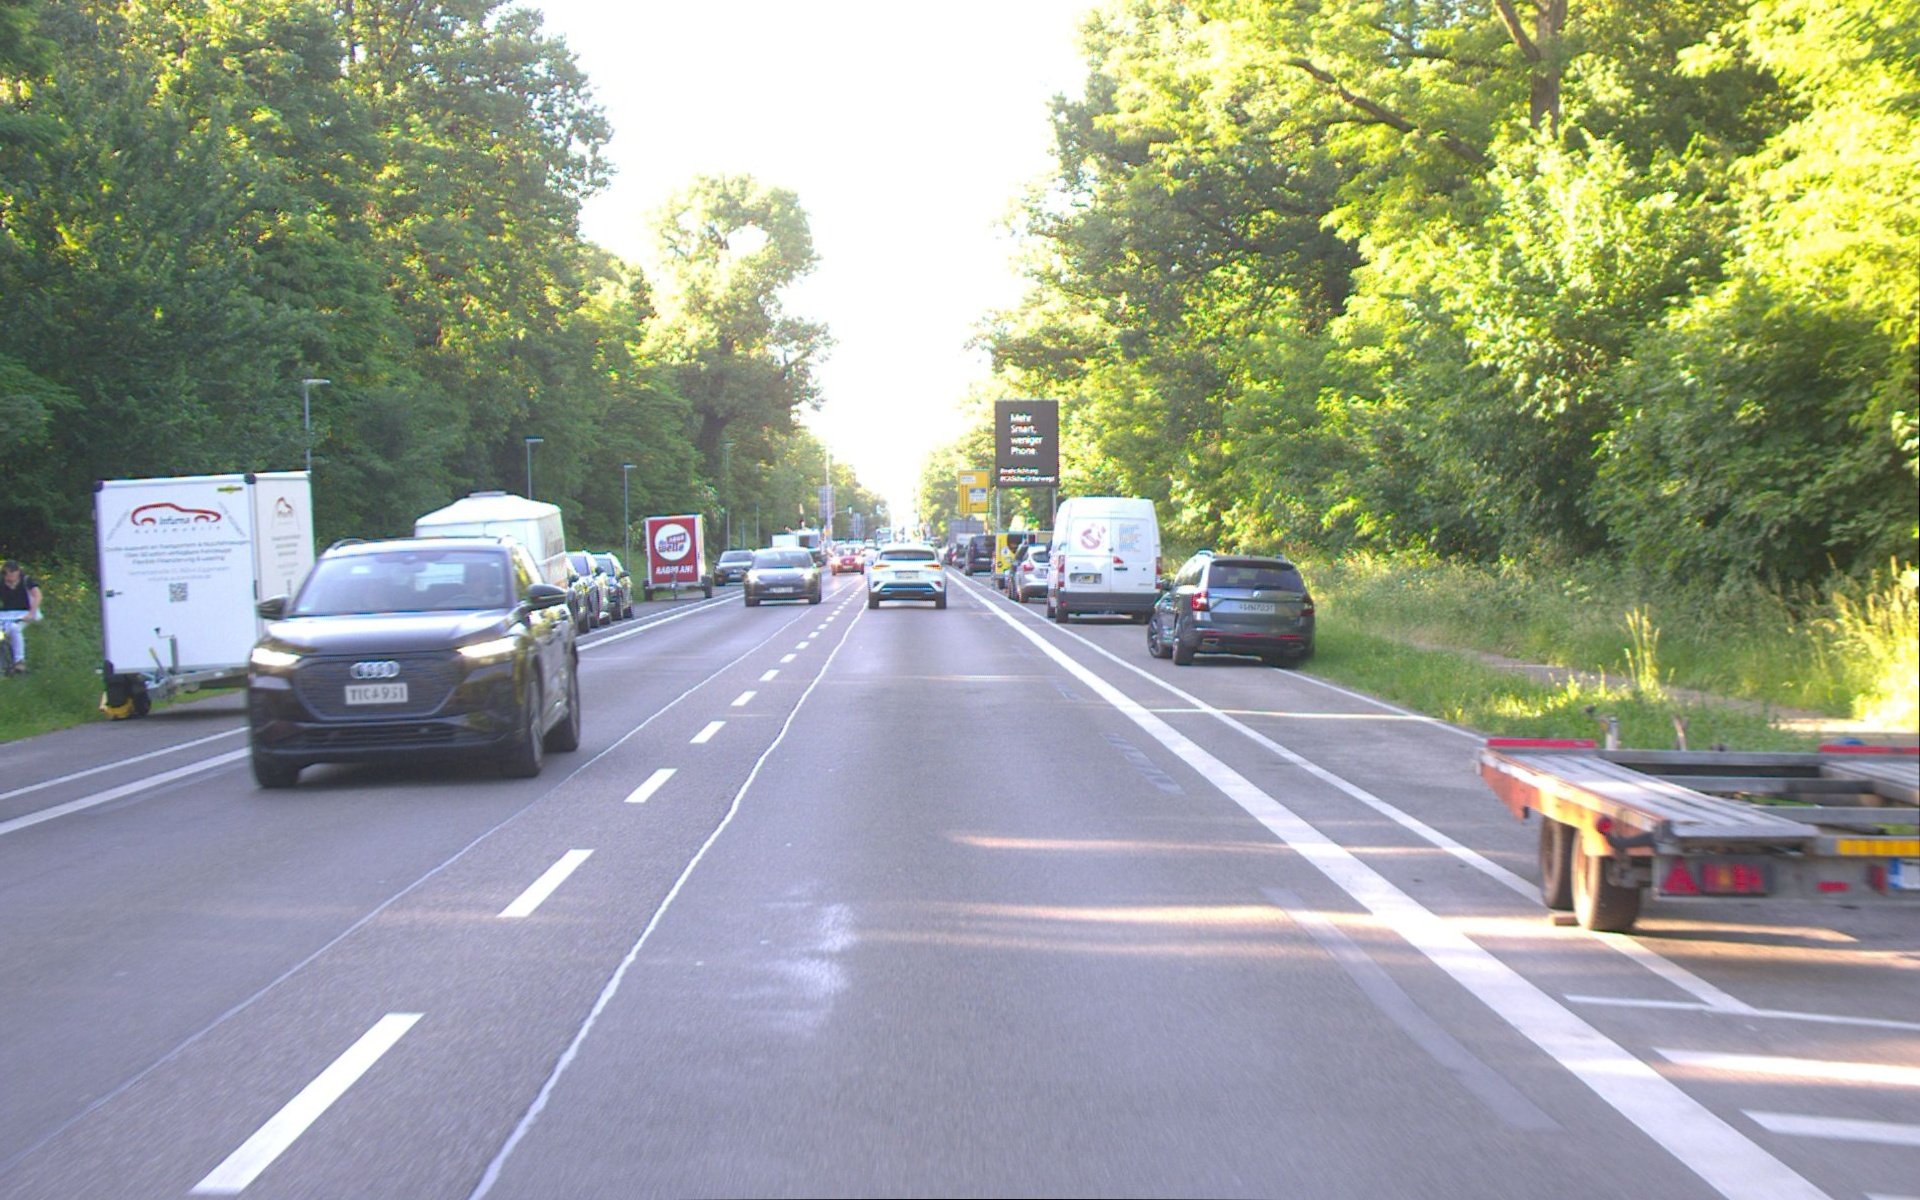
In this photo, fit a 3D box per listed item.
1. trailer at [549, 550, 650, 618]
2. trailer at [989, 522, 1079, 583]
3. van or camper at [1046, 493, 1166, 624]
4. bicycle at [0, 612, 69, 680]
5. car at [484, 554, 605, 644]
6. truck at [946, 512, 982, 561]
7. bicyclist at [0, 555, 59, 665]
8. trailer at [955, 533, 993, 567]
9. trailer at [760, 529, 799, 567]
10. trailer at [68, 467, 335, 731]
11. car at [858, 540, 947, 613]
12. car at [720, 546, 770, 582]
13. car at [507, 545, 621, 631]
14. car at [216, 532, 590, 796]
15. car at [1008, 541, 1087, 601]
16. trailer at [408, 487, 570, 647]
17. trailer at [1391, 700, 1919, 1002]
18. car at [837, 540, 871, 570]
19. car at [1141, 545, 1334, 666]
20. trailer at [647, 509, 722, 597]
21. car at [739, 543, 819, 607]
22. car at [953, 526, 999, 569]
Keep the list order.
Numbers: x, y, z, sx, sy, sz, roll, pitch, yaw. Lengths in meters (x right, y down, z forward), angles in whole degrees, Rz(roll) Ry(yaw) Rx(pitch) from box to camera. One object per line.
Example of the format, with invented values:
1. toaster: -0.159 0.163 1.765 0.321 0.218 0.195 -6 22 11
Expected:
1. trailer: -8.019 -0.381 76.841 1.841 1.461 4.466 0 1 -1
2. trailer: 2.531 -1.633 117.142 1.964 2.016 3.840 0 1 19
3. van or camper: 2.856 -0.842 68.545 2.125 2.474 6.305 -1 1 0
4. bicycle: -11.732 0.564 42.936 0.671 0.798 2.099 0 1 0
5. car: -7.634 -0.036 63.511 1.671 1.490 4.194 -4 1 -1
6. truck: 0.264 -4.401 240.842 2.505 3.355 7.107 0 1 0
7. bicyclist: -11.727 0.121 42.995 0.671 1.359 0.905 0 0 0
8. trailer: 0.847 -3.063 210.760 1.616 2.105 2.394 0 1 20
9. trailer: -11.049 -3.207 211.032 2.075 2.285 3.486 -2 1 1
10. trailer: -7.548 -0.043 34.556 2.066 2.472 3.561 -1 1 -4
11. car: -1.339 -0.570 80.613 1.993 1.634 4.000 -1 1 -1
12. car: -9.025 -1.521 144.401 1.855 1.459 4.784 -1 1 -1
13. car: -7.964 -0.253 69.529 1.671 1.568 5.127 -4 1 -1
14. car: -3.678 0.370 23.463 1.818 1.581 4.459 -2 1 0
15. car: 2.246 -0.779 89.190 1.734 1.482 4.401 1 1 -2
16. trailer: -7.806 -0.563 57.332 2.345 2.520 4.345 -1 1 -4
17. trailer: 3.423 0.940 14.513 2.432 0.796 5.660 0 1 -1
18. car: -5.328 -2.273 172.872 1.604 1.416 3.519 -2 1 -1
19. car: 3.576 0.030 45.071 1.834 1.416 4.598 2 1 -4
20. trailer: -8.485 -1.458 106.155 1.993 2.612 4.086 -1 1 -1
21. car: -4.569 -0.643 87.147 1.819 1.527 4.530 -1 1 -1
22. car: 0.762 -2.523 166.558 2.113 2.007 5.040 1 1 0
